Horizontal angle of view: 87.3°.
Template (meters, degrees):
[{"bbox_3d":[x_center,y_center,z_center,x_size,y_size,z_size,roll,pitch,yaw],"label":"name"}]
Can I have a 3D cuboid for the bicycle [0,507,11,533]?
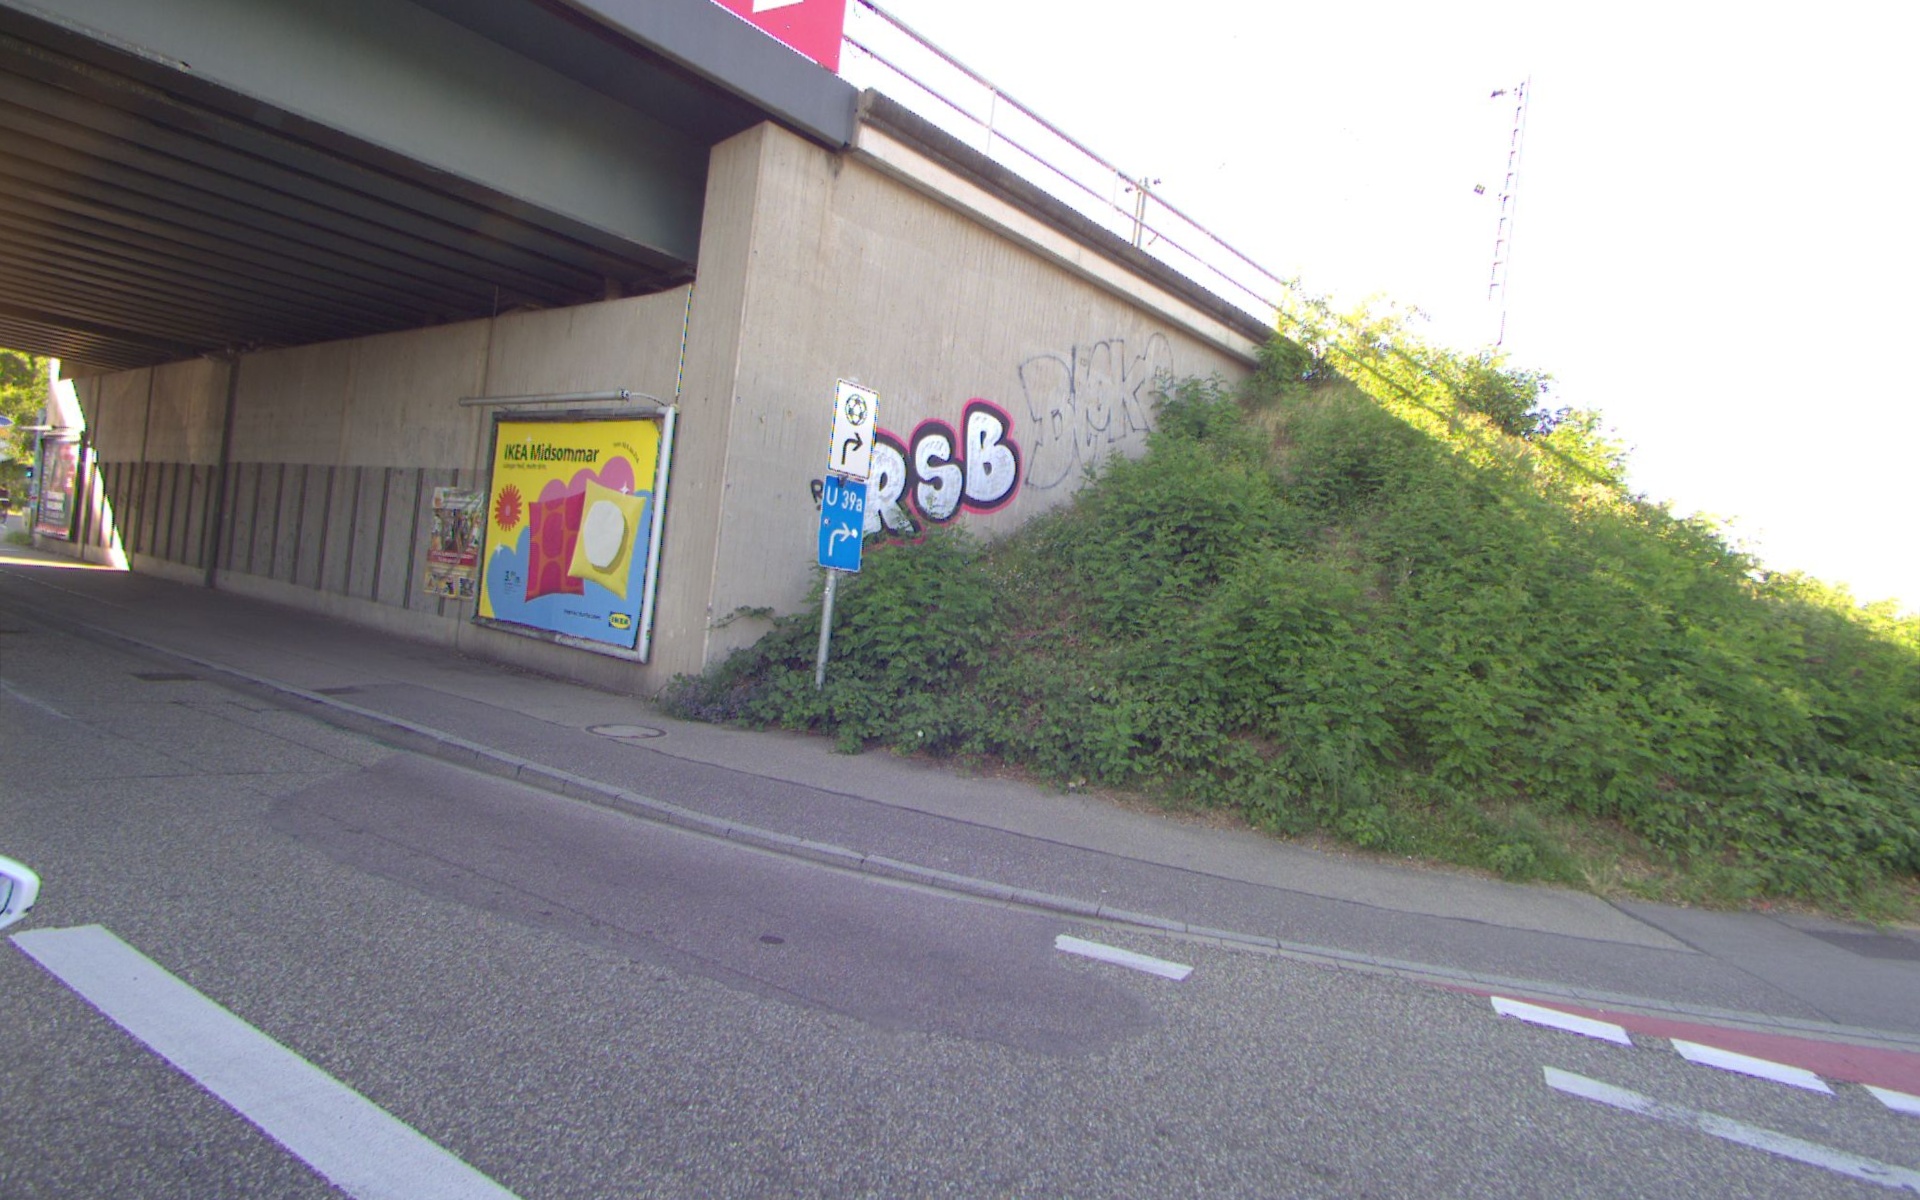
[{"bbox_3d":[-44.292,-3.722,46.314,1.598,1.125,0.564,6,-2,39],"label":"bicycle"}]

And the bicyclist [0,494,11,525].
[{"bbox_3d":[-44.288,-4.192,46.382,0.823,1.331,0.543,6,-1,38],"label":"bicyclist"}]

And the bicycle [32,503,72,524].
[{"bbox_3d":[-53.723,-5.099,59.518,1.652,1.004,0.572,7,3,-35],"label":"bicycle"}]
